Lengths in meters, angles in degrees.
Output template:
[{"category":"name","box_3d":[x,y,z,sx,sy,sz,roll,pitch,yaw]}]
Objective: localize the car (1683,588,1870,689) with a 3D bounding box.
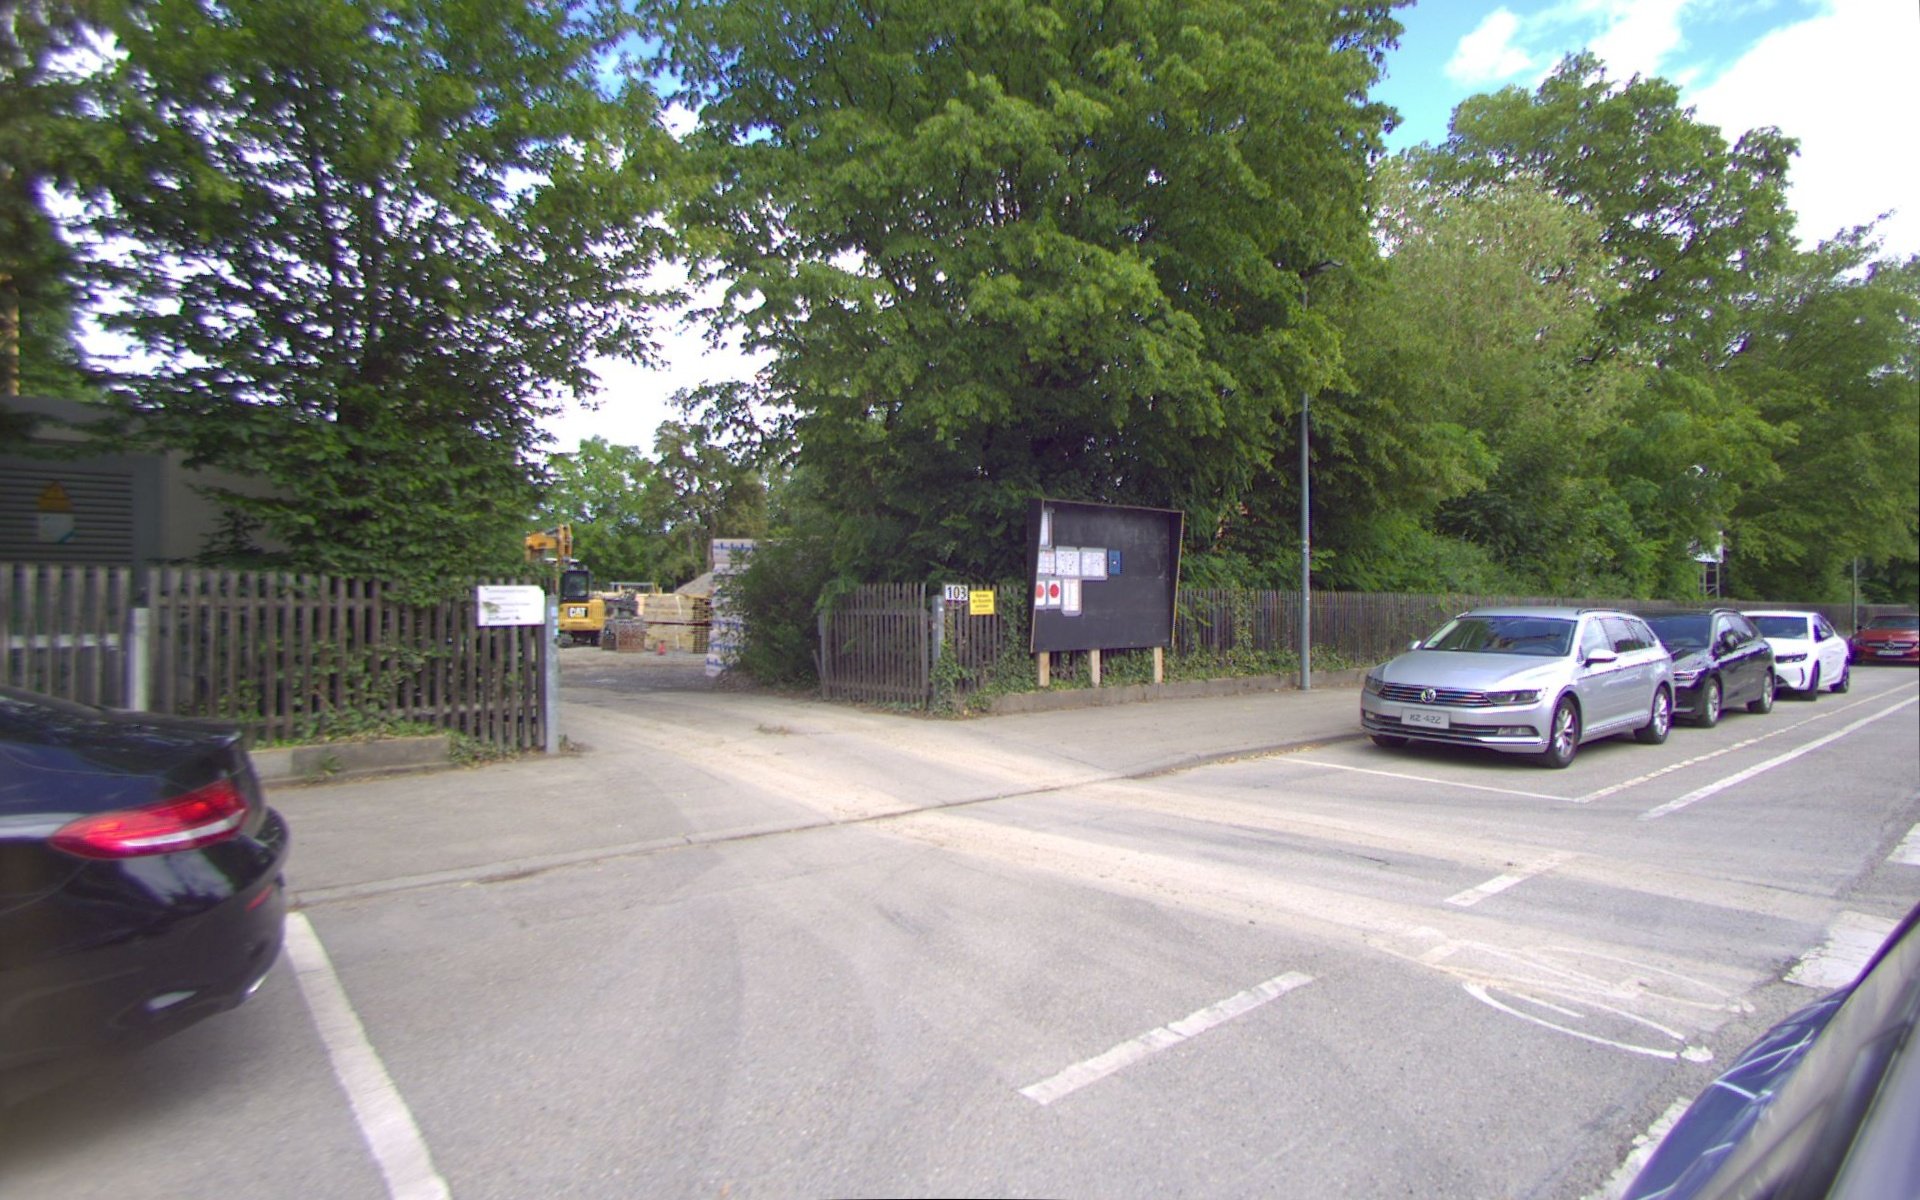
[{"category":"car","box_3d":[14.318,0.583,17.673,3.959,1.529,1.772,-1,1,-39]}]

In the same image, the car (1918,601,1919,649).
[{"category":"car","box_3d":[33.087,0.758,33.262,4.598,1.534,1.819,-1,-1,-40]}]

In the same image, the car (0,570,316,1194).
[{"category":"car","box_3d":[-4.064,0.641,2.019,4.519,1.435,1.867,0,0,-39]}]

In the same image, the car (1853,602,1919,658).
[{"category":"car","box_3d":[25.953,0.785,27.458,4.363,1.432,1.863,0,-2,-39]}]

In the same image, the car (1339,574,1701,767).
[{"category":"car","box_3d":[6.087,0.574,10.749,4.605,1.631,1.864,-1,0,-41]}]

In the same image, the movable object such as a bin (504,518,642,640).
[{"category":"movable object such as a bin","box_3d":[-14.532,-0.715,37.736,3.583,4.131,6.021,0,0,-34]}]

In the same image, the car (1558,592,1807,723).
[{"category":"car","box_3d":[10.057,0.691,13.964,4.456,1.530,1.705,0,-1,-40]}]
